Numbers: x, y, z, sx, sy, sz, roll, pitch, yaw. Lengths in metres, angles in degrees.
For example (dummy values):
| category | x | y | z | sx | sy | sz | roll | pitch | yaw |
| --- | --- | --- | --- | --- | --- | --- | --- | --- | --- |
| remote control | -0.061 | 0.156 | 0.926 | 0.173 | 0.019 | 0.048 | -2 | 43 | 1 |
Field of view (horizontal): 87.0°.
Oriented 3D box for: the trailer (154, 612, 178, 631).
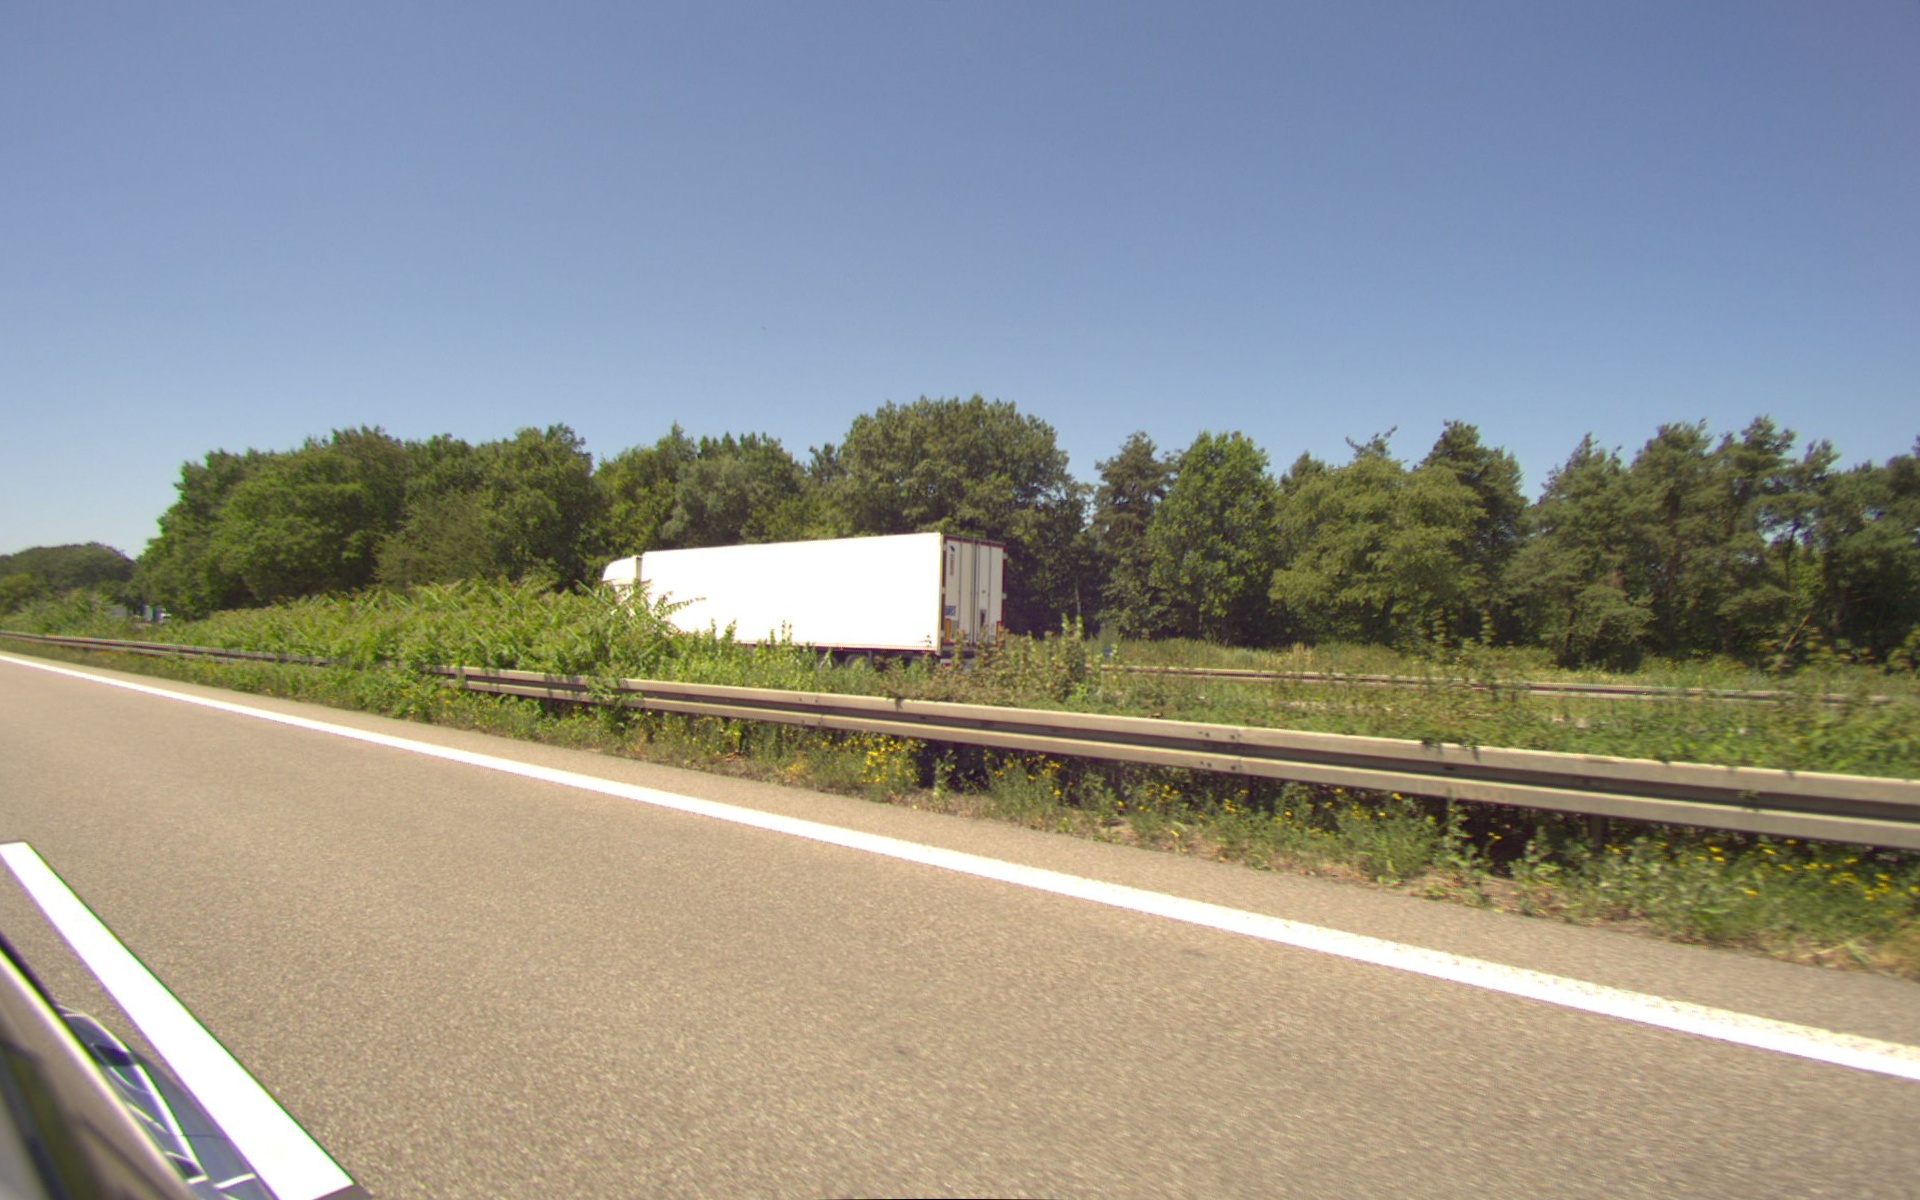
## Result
| category | x | y | z | sx | sy | sz | roll | pitch | yaw |
| --- | --- | --- | --- | --- | --- | --- | --- | --- | --- |
| trailer | -158.713 | 4.298 | 202.398 | 3.554 | 3.684 | 14.051 | 2 | -2 | -38 |

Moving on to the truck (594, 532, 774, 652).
| category | x | y | z | sx | sy | sz | roll | pitch | yaw |
| --- | --- | --- | --- | --- | --- | --- | --- | --- | --- |
| truck | -9.475 | -0.234 | 34.506 | 6.034 | 3.726 | 3.146 | -1 | 0 | 42 |

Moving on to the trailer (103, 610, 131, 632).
| category | x | y | z | sx | sy | sz | roll | pitch | yaw |
| --- | --- | --- | --- | --- | --- | --- | --- | --- | --- |
| trailer | -172.485 | 4.264 | 206.966 | 3.178 | 4.167 | 14.060 | -1 | 0 | -44 |

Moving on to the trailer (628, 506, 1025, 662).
| category | x | y | z | sx | sy | sz | roll | pitch | yaw |
| --- | --- | --- | --- | --- | --- | --- | --- | --- | --- |
| trailer | -4.695 | -0.309 | 30.148 | 14.379 | 3.726 | 3.146 | -1 | 0 | 42 |
